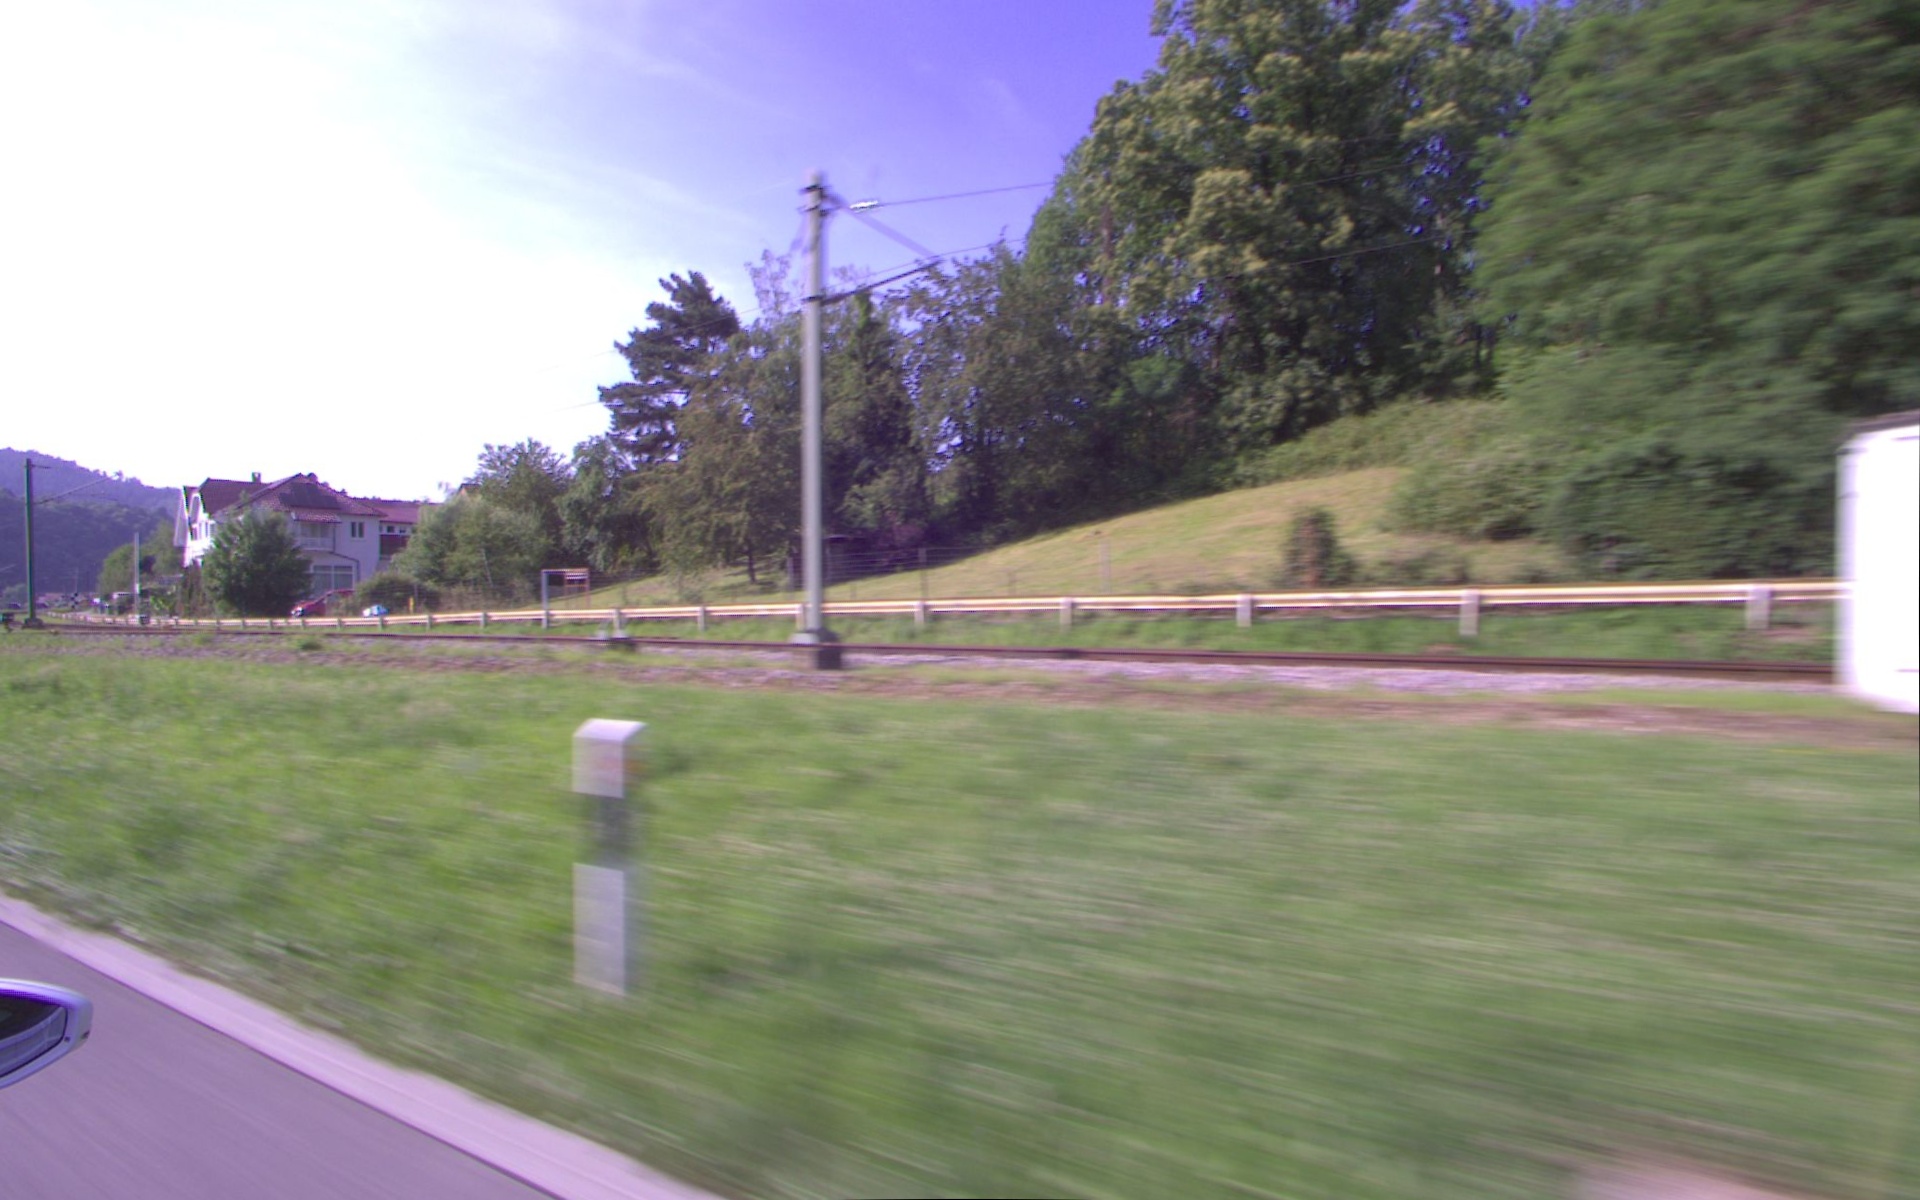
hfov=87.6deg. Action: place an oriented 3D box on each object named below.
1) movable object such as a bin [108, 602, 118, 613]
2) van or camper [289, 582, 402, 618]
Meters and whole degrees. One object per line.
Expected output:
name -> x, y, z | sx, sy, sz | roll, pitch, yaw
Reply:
movable object such as a bin -> -89.362, 0.804, 105.632 | 0.802, 1.064, 0.903 | 2, -1, -42
van or camper -> -36.452, -0.049, 59.519 | 2.098, 1.955, 5.383 | 0, 2, 44
